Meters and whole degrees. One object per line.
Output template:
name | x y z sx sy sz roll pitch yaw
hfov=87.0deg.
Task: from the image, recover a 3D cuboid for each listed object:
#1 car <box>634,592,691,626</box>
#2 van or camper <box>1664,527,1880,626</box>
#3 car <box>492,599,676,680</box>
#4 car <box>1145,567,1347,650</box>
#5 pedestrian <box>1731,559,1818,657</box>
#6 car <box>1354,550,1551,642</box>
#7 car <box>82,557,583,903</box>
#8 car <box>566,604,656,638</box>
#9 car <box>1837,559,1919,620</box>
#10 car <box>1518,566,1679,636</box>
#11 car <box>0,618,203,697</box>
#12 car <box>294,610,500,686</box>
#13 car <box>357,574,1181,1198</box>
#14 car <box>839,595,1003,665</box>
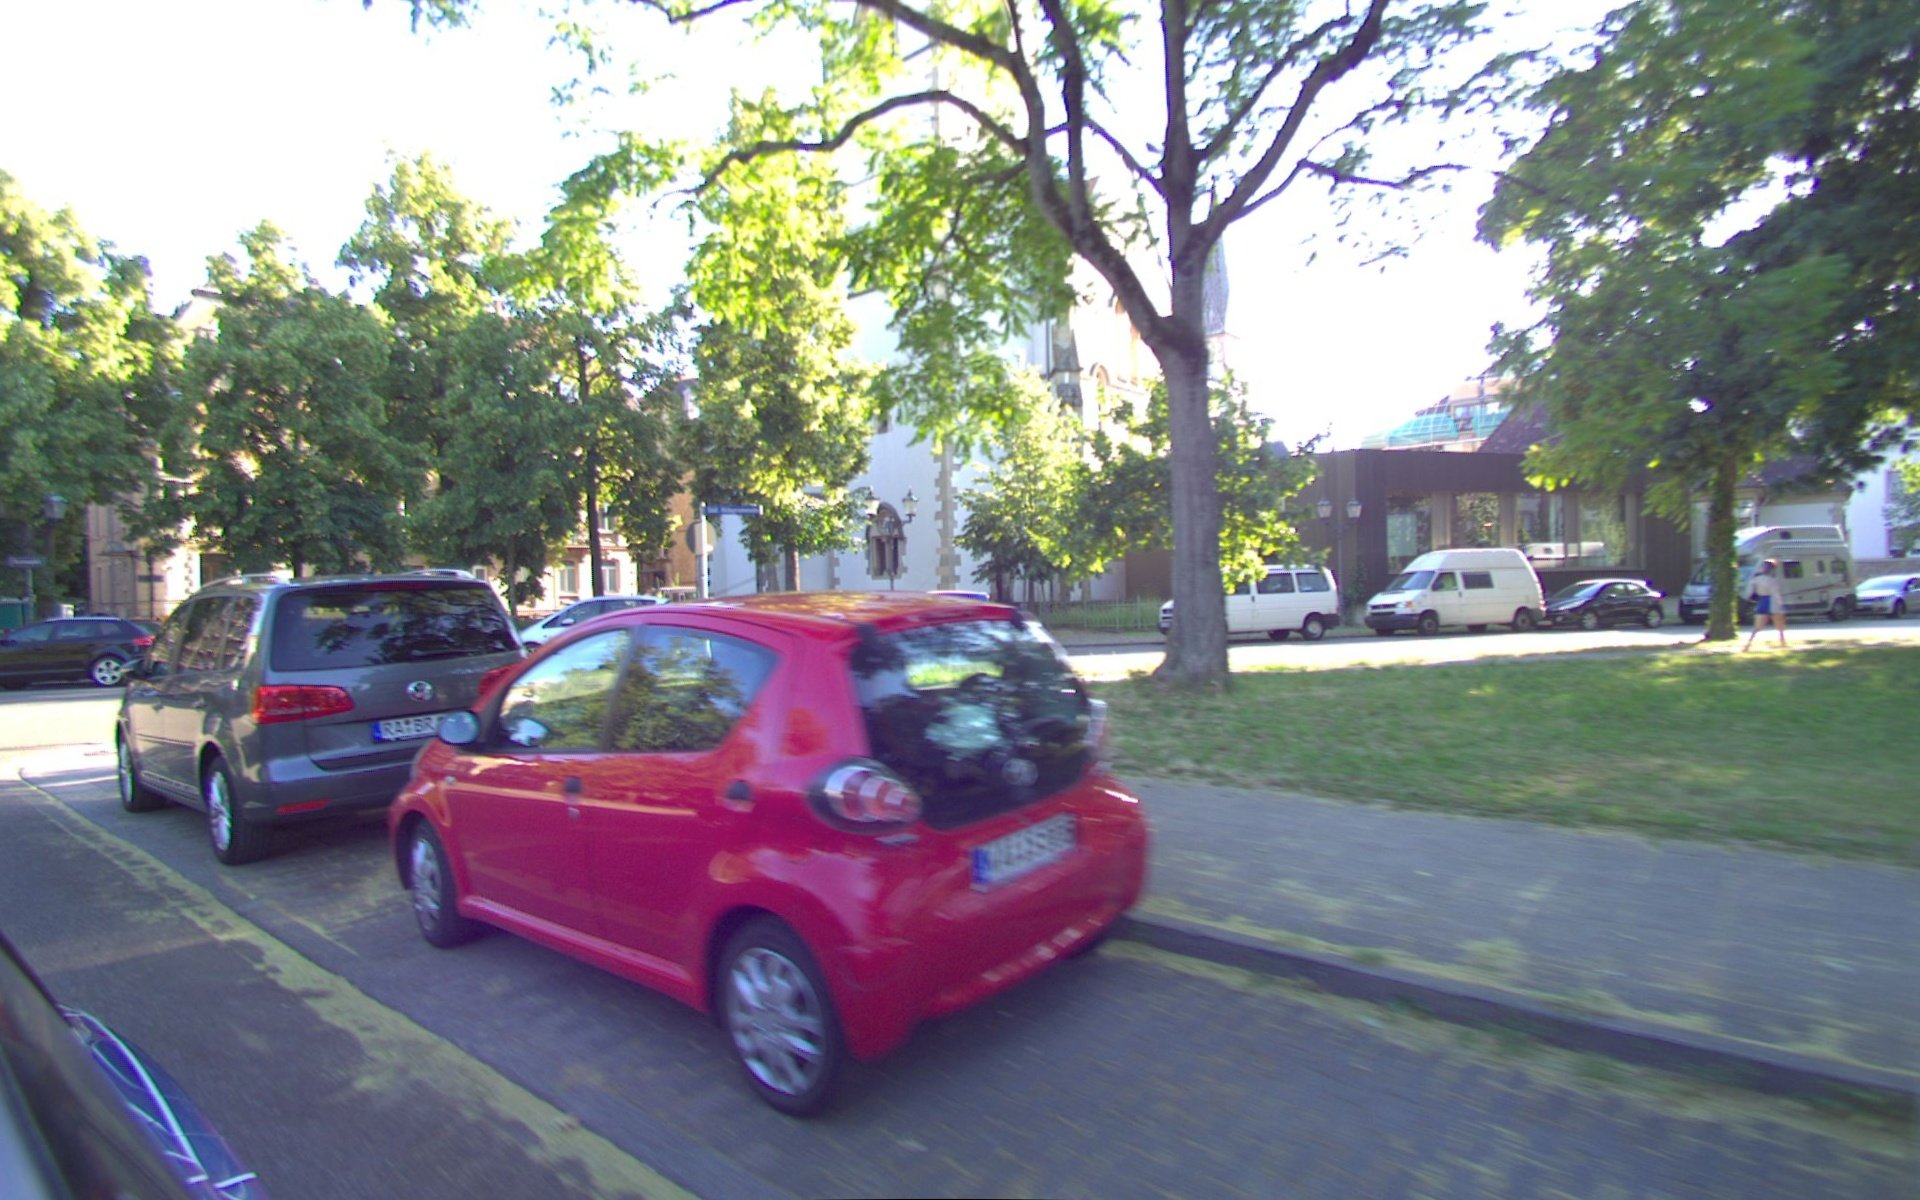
car | -21.303 0.652 72.375 4.217 2.278 1.866 -2 0 40
van or camper | 25.659 -0.759 31.992 6.224 2.930 2.103 -2 0 -17
car | -8.228 0.832 22.461 3.635 1.591 1.715 -2 0 -14
car | 7.458 0.201 26.502 4.759 1.961 1.862 -2 0 -14
pedestrian | 13.635 0.137 16.964 0.756 1.586 0.776 -2 0 -4
car | 13.785 -0.140 28.312 5.097 2.373 1.863 -2 0 -20
car | -4.614 0.660 7.144 4.319 1.688 1.783 -1 2 42
car | -18.754 1.124 54.517 1.890 1.668 4.165 -2 0 39
car | 31.433 -0.383 33.467 4.072 1.900 1.863 -2 0 -20
car | 18.873 0.019 29.936 4.072 1.900 1.863 -2 0 -20
car | -18.286 1.174 20.453 4.420 1.426 1.835 -2 -2 -13
car | -12.016 1.003 21.804 3.546 1.451 1.622 -2 -1 -13
car | -1.008 0.695 4.038 3.425 1.434 1.373 -1 2 42
car | -0.969 0.682 24.350 3.635 1.512 1.626 -2 0 -14
